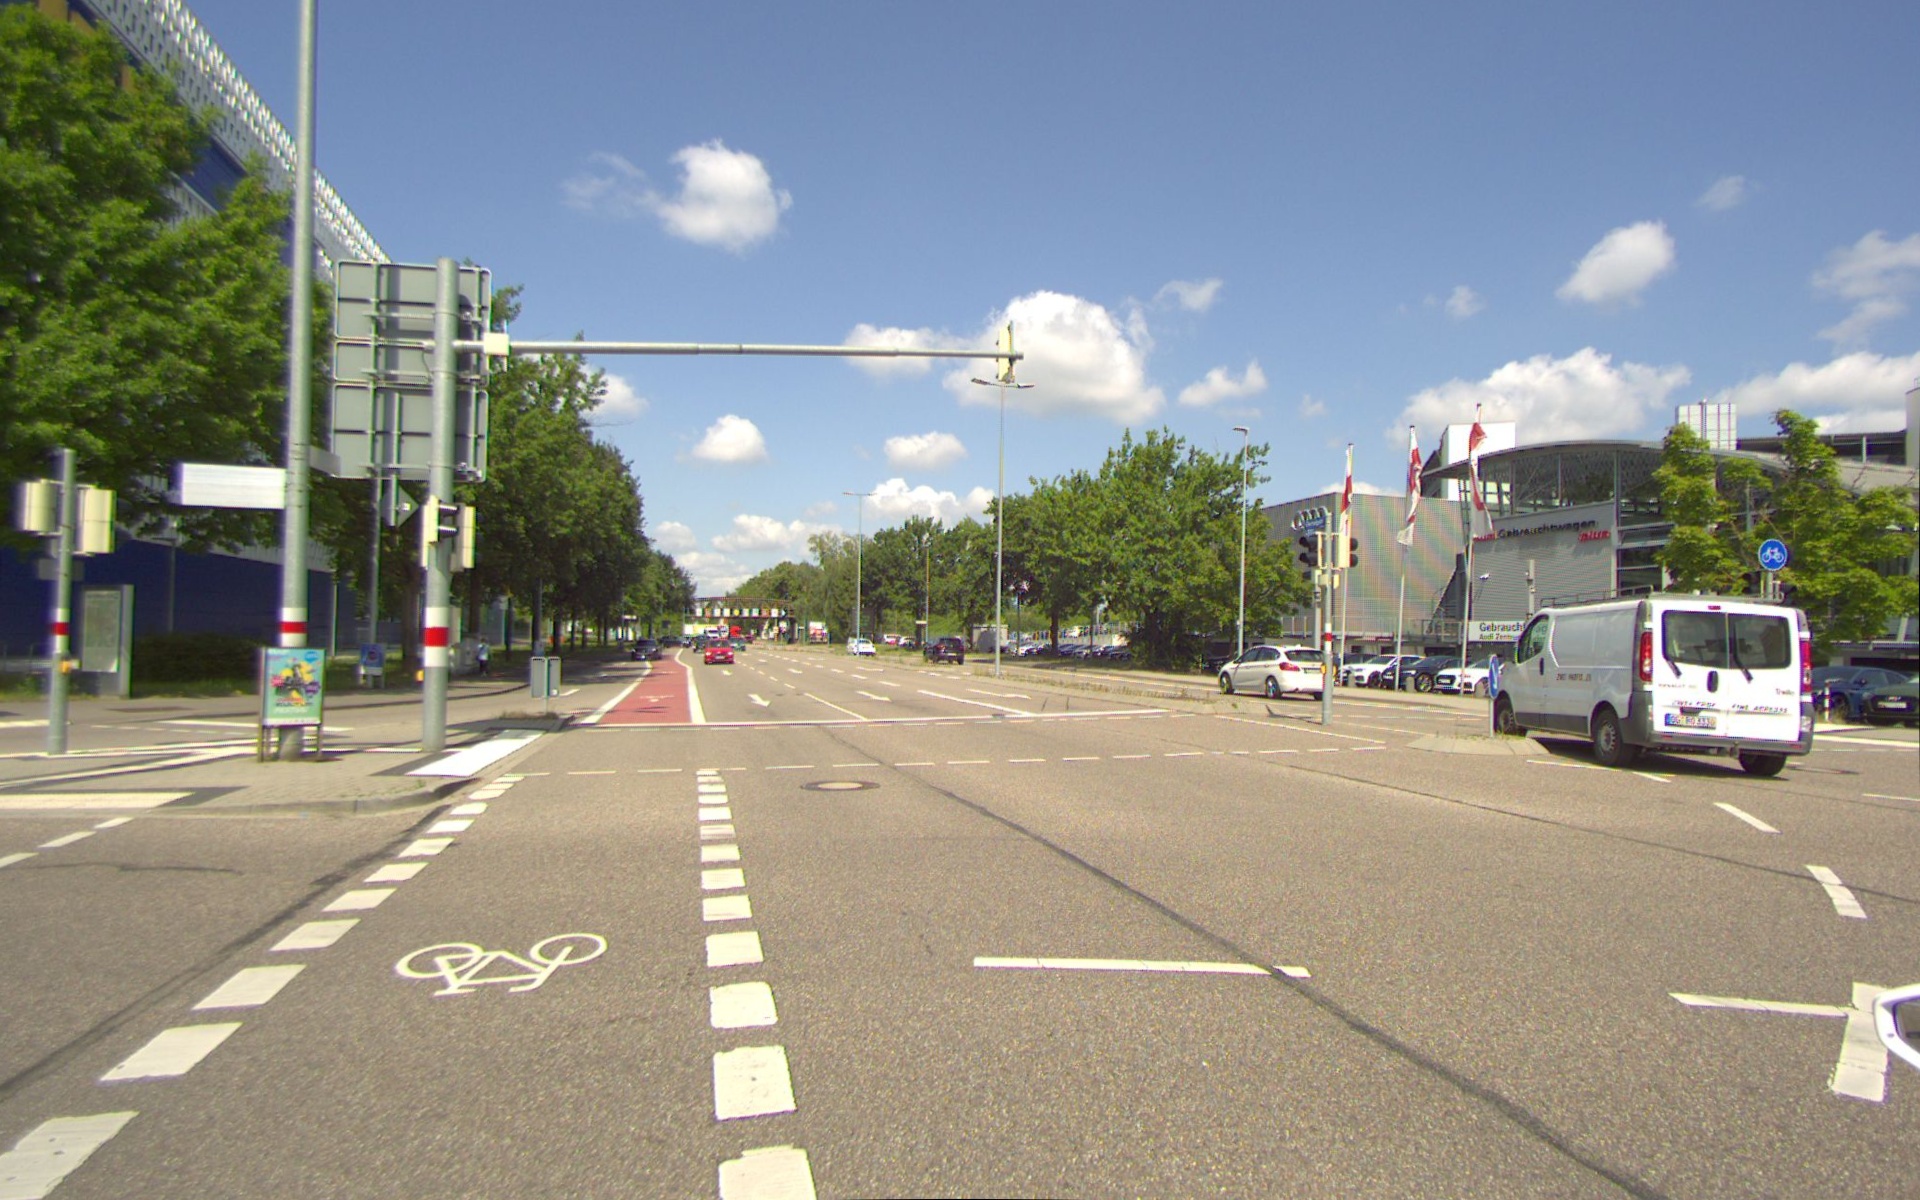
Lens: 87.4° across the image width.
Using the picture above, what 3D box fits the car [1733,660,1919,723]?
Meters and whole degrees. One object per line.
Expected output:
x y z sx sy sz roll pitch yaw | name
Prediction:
21.601 2.231 24.607 4.515 1.314 1.901 2 -1 -16 | car

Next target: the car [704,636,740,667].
-14.154 3.044 59.591 1.819 1.622 4.548 2 -1 -17 | car

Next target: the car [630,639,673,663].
-21.402 3.548 69.907 1.860 1.575 4.585 1 -2 -4 | car

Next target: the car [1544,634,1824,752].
11.970 1.455 16.982 1.745 1.651 3.999 2 -1 -2 | car

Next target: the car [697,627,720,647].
-23.748 3.498 94.714 1.903 1.778 4.805 -1 -1 -16 | car

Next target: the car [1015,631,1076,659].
6.936 3.680 81.484 4.515 2.076 1.901 2 -1 -16 | car

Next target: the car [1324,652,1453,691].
17.067 2.841 40.031 4.515 1.314 1.901 2 -1 -16 | car

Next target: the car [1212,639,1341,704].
9.364 2.093 30.057 1.748 1.639 3.986 2 -1 -16 | car

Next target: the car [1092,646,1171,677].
10.818 3.885 63.453 4.515 1.700 1.901 2 -1 -16 | car

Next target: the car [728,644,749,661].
-22.341 5.232 101.209 1.750 1.568 4.805 -1 -1 -16 | car

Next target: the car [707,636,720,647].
-41.254 6.919 168.310 1.903 1.778 4.805 2 -2 -16 | car

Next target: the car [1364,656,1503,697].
17.540 2.826 37.256 4.515 1.314 1.901 2 -1 -16 | car

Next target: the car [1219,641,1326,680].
14.889 2.867 47.929 4.516 1.423 1.901 5 -1 -16 | car

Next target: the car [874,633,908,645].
-9.543 5.383 138.931 4.299 1.533 1.929 2 -1 -17 | car

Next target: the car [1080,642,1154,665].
10.459 3.555 66.826 4.514 1.518 1.901 1 -2 -16 | car

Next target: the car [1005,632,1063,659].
6.242 3.820 84.984 4.515 2.076 1.901 2 -1 -16 | car

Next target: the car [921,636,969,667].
-0.933 3.026 59.518 1.749 1.639 4.253 2 -1 -16 | car

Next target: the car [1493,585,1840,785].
8.786 0.957 13.086 1.939 2.087 4.568 1 -1 10 | car

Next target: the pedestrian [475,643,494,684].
-18.471 2.467 39.055 0.496 1.575 0.758 1 -2 -15 | pedestrian

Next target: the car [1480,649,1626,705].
18.941 2.442 32.105 3.935 1.483 1.790 5 -3 -16 | car

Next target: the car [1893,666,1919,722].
32.502 3.111 31.371 1.968 1.763 4.536 2 -1 -17 | car

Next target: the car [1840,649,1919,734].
21.993 2.022 22.019 4.515 1.700 1.901 2 -1 -16 | car

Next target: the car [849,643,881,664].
-7.493 4.173 78.723 1.830 1.461 3.988 2 -1 -14 | car

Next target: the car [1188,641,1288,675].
14.063 2.919 50.792 4.515 1.423 1.901 4 -1 -16 | car

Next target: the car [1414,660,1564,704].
18.288 2.825 34.740 4.515 1.314 1.901 2 -1 -16 | car

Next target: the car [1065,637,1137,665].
9.775 3.515 69.507 4.515 1.700 1.901 2 -1 -16 | car
